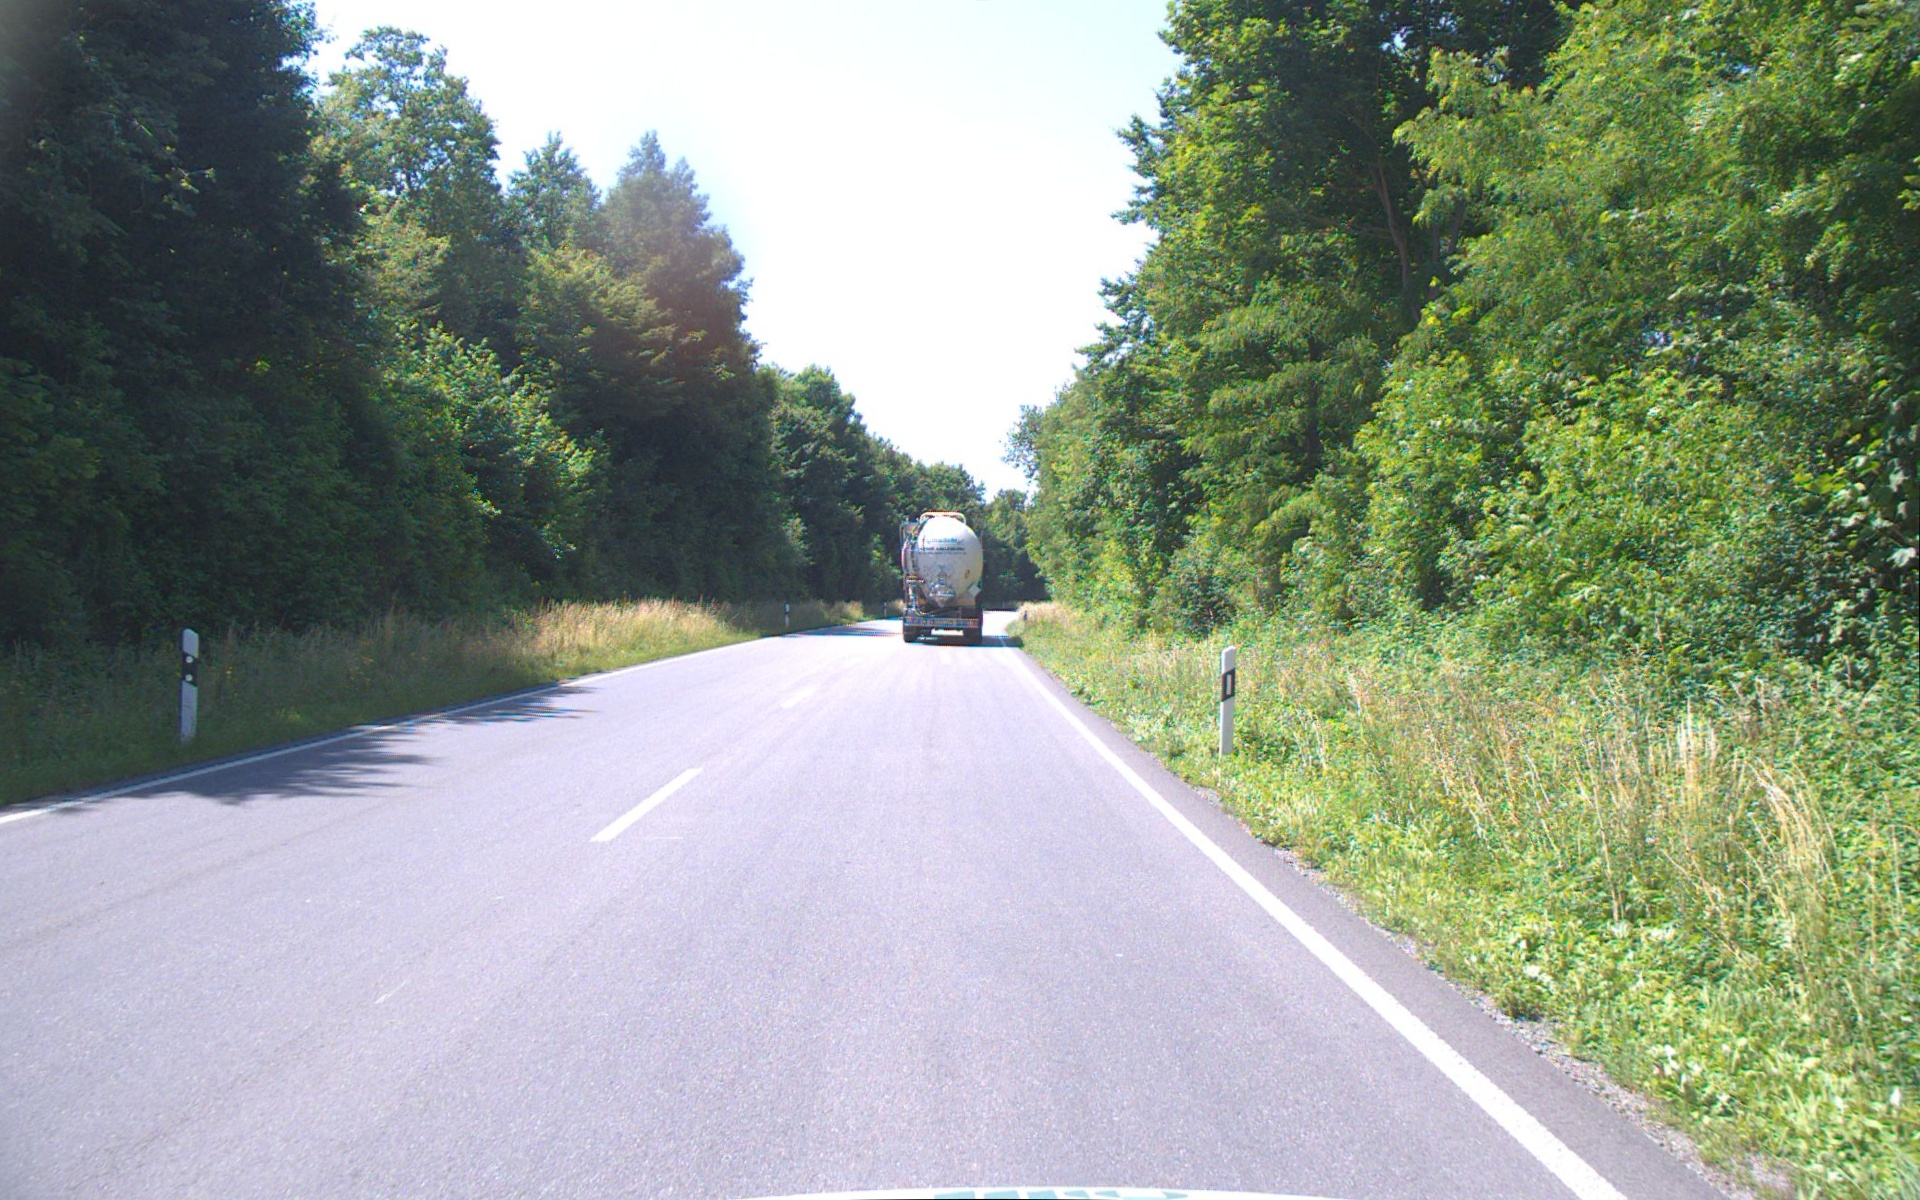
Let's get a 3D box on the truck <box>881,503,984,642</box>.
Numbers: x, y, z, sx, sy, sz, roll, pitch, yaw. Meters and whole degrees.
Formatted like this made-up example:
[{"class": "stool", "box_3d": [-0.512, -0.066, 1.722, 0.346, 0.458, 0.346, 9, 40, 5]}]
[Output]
[{"class": "truck", "box_3d": [-0.927, -0.829, 56.995, 2.987, 4.068, 15.633, 1, 0, -1]}]
